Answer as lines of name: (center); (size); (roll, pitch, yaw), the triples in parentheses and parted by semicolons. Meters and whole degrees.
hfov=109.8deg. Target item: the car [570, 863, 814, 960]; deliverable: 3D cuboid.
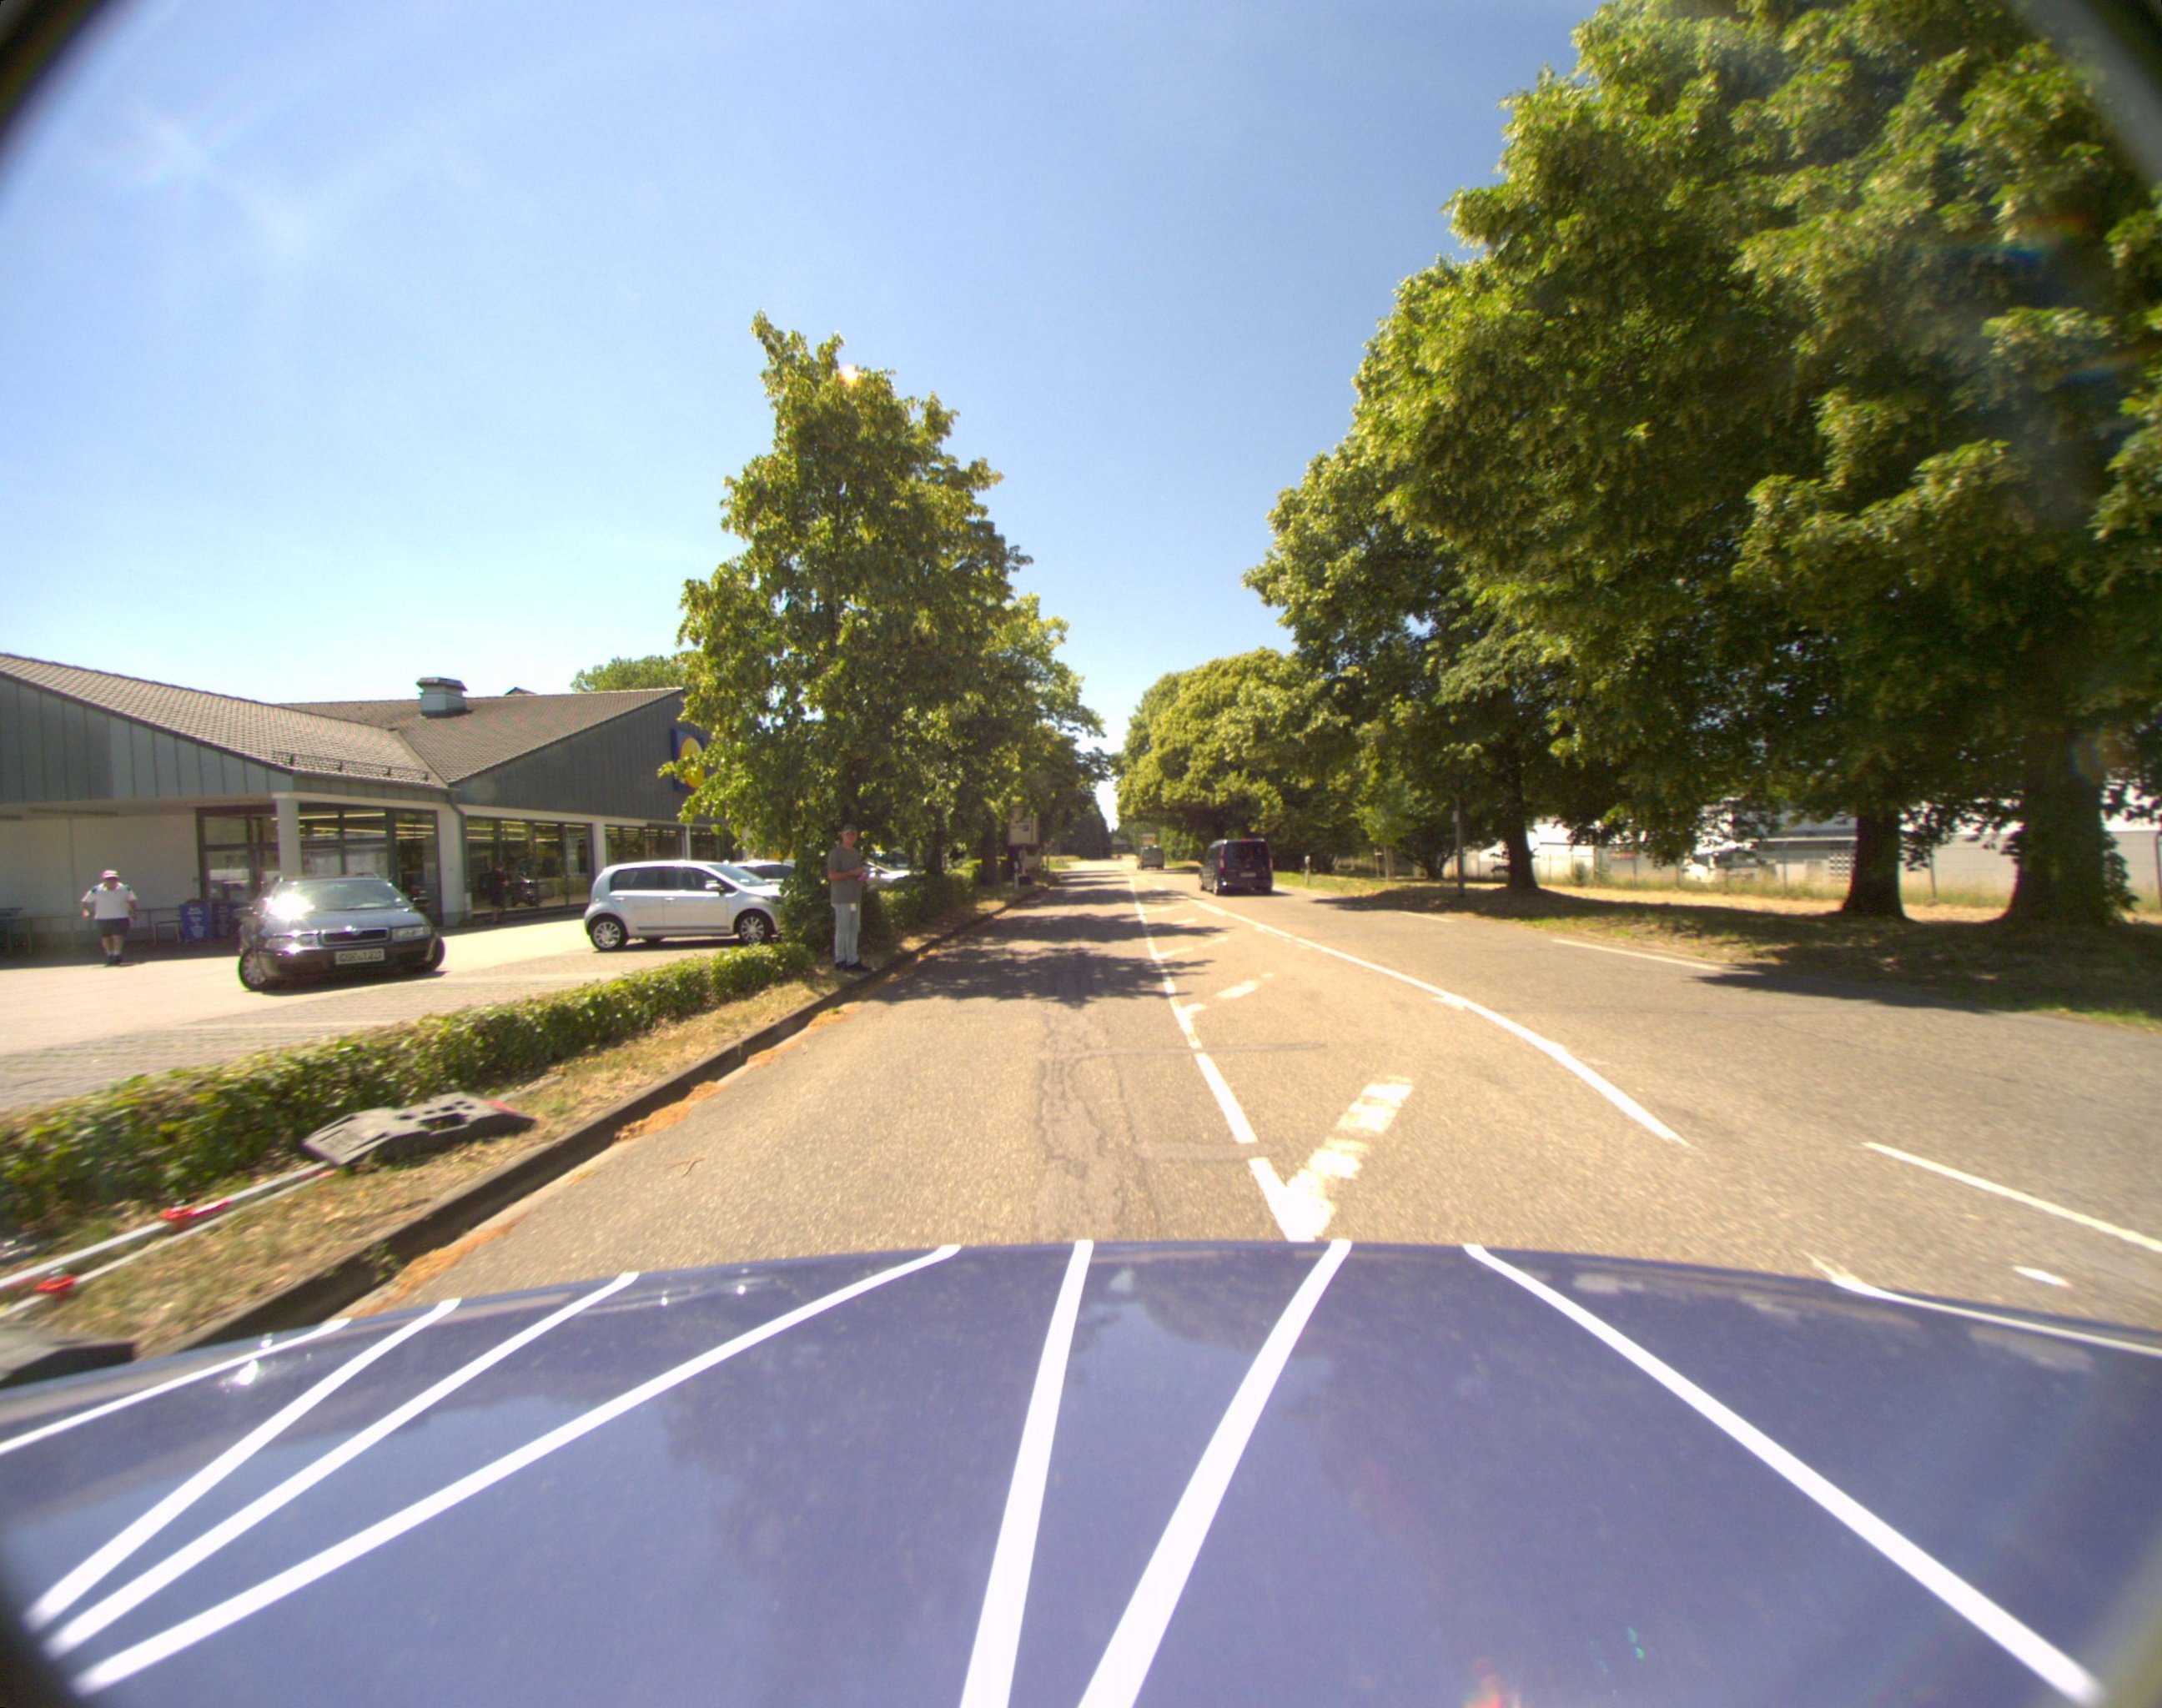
car: (-6.642, 0.944, 13.247); (3.407, 1.497, 1.582); (-1, 0, -2)

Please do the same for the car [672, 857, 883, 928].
car: (-7.152, 0.881, 18.263); (4.323, 1.472, 1.809); (-2, 0, -4)

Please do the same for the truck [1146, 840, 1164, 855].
truck: (12.982, -1.205, 133.366); (2.301, 2.450, 5.347); (-1, 1, 14)

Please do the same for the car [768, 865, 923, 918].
car: (-7.240, 1.123, 23.713); (4.242, 1.403, 1.952); (-2, 0, -4)

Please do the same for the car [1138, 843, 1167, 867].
car: (5.768, 0.060, 62.132); (1.882, 1.823, 5.298); (-1, 0, 0)

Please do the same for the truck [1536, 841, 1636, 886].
truck: (36.697, 0.640, 55.571); (2.438, 2.911, 8.167); (-2, 0, 5)

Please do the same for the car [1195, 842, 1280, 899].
car: (5.209, 0.494, 25.991); (1.828, 1.771, 4.781); (0, 0, -1)

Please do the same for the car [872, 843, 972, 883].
car: (-7.023, 0.367, 33.852); (3.997, 1.630, 1.999); (-2, 1, -2)

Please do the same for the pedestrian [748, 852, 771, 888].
pedestrian: (-15.866, 0.797, 37.495); (0.763, 1.731, 0.698); (-2, 1, 2)

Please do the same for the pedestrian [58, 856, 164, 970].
pedestrian: (-17.737, 1.054, 13.917); (0.784, 2.002, 0.803); (-2, 1, -2)

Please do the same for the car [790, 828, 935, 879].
car: (-8.148, -0.021, 28.689); (4.861, 1.666, 2.000); (-2, 0, -2)

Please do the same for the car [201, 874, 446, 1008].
car: (-10.902, 1.102, 10.848); (4.289, 1.495, 1.749); (-2, 0, 36)

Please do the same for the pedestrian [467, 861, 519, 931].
pedestrian: (-15.327, 1.081, 19.824); (0.699, 1.743, 0.784); (-2, 1, -6)

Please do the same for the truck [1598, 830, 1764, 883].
truck: (35.803, 0.160, 46.050); (2.691, 2.780, 10.163); (-2, 0, 5)

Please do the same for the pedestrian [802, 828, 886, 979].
pedestrian: (-2.894, 0.591, 9.322); (0.730, 1.779, 0.621); (-1, 1, 8)
